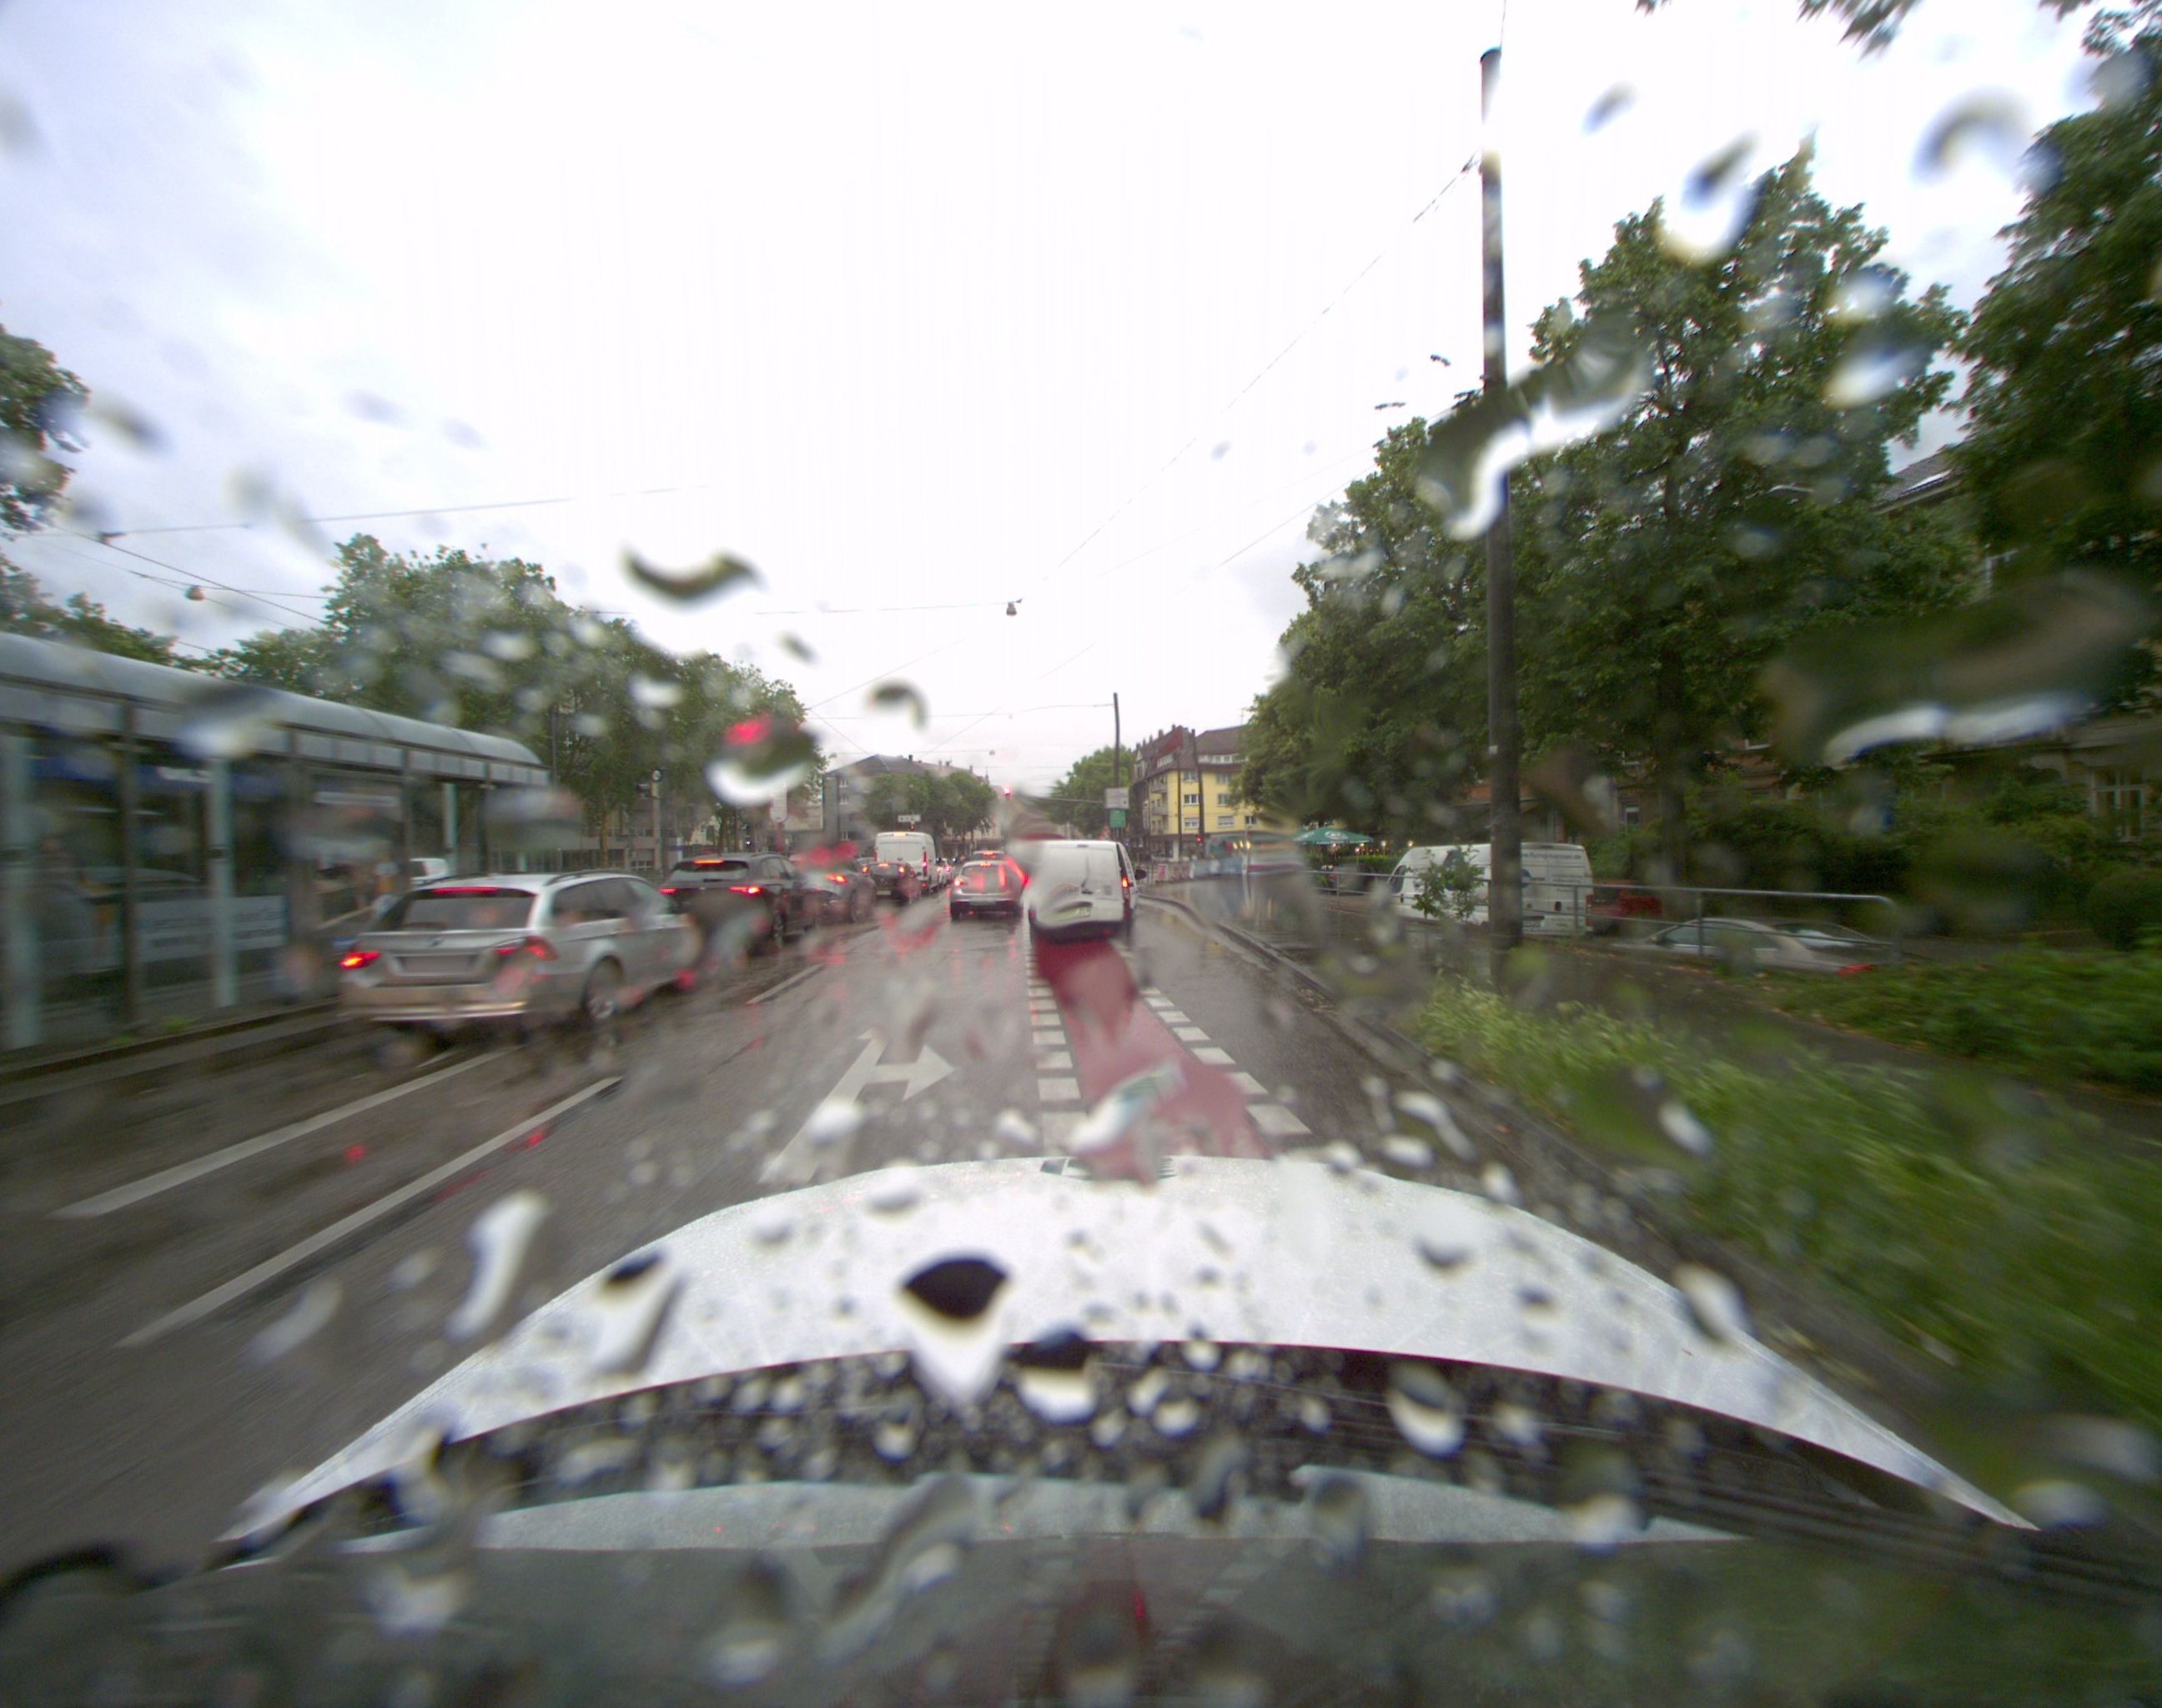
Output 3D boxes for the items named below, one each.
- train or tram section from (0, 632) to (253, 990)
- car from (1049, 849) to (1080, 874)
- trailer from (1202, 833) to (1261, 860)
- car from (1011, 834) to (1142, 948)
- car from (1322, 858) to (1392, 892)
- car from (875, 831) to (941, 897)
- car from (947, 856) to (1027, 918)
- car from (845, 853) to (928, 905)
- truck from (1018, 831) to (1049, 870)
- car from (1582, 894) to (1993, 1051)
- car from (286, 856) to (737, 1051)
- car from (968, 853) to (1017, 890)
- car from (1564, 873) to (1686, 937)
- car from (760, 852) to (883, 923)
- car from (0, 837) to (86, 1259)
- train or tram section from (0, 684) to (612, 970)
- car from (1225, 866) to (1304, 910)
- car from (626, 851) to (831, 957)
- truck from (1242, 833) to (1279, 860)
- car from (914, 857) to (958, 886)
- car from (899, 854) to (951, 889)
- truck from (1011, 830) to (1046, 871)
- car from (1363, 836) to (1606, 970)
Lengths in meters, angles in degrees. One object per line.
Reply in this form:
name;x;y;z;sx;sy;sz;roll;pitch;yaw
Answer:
train or tram section;-11.189;-0.315;5.234;2.974;3.285;8.968;-3;1;-5
car;-1.086;0.477;54.513;1.987;1.542;3.999;-1;0;0
trailer;13.035;-0.636;70.834;4.649;2.317;1.995;-1;-1;-7
car;0.051;0.623;14.729;1.949;1.777;3.575;-1;-1;6
car;13.922;1.036;40.988;1.866;1.478;4.025;-2;1;41
car;-6.831;0.381;32.590;1.990;2.442;4.604;0;-1;-5
car;-2.384;0.823;21.392;1.756;1.469;3.530;0;-1;-2
car;-6.359;0.780;27.094;1.990;1.578;4.285;0;-1;-5
truck;-6.387;-0.478;109.848;3.265;4.899;7.185;-2;1;2
car;9.724;1.492;11.787;1.822;1.490;4.340;-3;1;-8
car;-5.396;0.792;8.599;1.990;1.472;4.260;0;1;-5
car;-3.704;0.723;34.545;1.756;1.469;3.530;0;-1;-2
car;15.297;1.370;22.851;3.689;1.437;1.690;-3;1;-37
car;-6.315;0.779;20.352;1.990;1.578;4.285;0;-1;-5
car;-4.821;0.770;1.080;1.990;1.537;4.126;-3;1;-5
train or tram section;-11.980;-0.383;14.152;2.974;3.285;8.968;-3;1;-5
car;7.371;1.308;33.196;1.820;1.490;4.344;-3;1;-6
car;-5.928;0.765;14.352;1.990;1.578;4.285;0;-1;-5
truck;15.660;-0.663;71.146;2.637;2.299;1.995;-1;-1;-7
car;-8.104;0.962;46.015;1.990;1.596;4.604;0;-1;-5
car;-7.557;0.840;39.923;1.990;1.596;4.604;0;-1;-5
truck;-6.616;-0.528;104.419;3.266;4.899;11.406;-3;1;2
car;8.970;0.925;18.921;2.178;2.532;5.763;-3;1;-7
